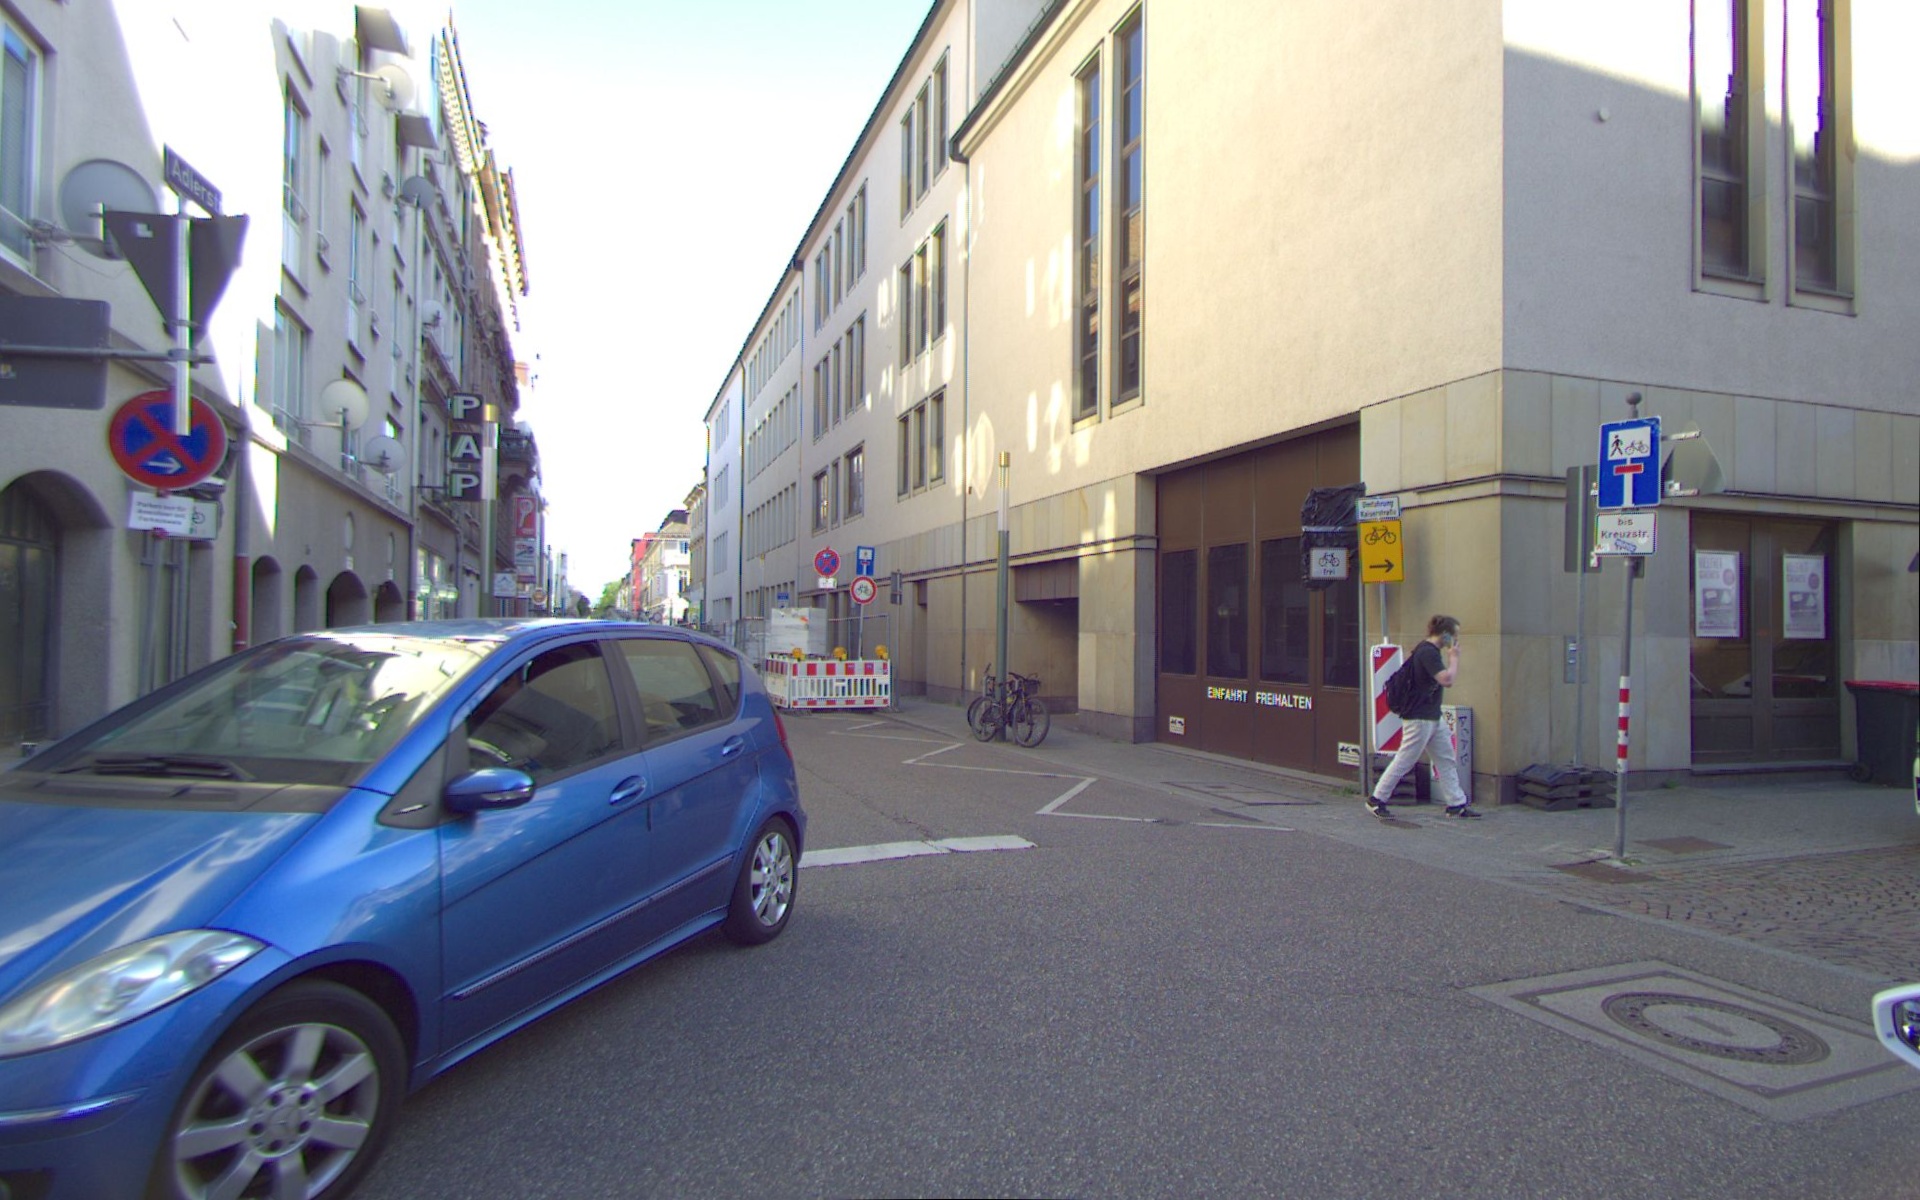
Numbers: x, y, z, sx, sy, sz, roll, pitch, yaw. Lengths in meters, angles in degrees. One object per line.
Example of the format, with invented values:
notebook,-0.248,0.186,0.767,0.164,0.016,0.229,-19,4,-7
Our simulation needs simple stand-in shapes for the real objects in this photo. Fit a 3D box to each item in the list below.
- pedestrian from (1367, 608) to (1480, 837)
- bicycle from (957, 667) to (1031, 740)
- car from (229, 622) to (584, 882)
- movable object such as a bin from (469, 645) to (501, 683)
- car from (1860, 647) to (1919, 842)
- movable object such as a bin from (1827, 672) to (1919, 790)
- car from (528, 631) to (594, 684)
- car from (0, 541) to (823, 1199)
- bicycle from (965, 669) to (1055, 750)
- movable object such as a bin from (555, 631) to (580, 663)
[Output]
pedestrian,4.005,1.025,8.749,0.845,1.878,0.716,0,-3,22
bicycle,0.526,1.640,16.126,0.299,1.064,1.527,1,-2,-36
car,-4.246,1.040,8.401,1.715,1.614,3.956,2,-2,-16
movable object such as a bin,-13.796,1.854,29.189,0.826,1.062,0.750,2,0,-25
car,9.392,1.136,8.027,3.743,1.511,1.735,1,-3,-21
movable object such as a bin,9.622,1.337,10.425,0.582,1.115,0.736,2,0,-19
car,-12.721,1.785,31.940,1.769,1.545,3.978,3,-2,-23
car,-2.111,0.771,3.933,1.819,1.614,3.809,-2,-2,14
bicycle,0.725,1.604,15.020,0.299,1.064,1.774,1,-2,-36
movable object such as a bin,-19.485,2.324,49.812,1.068,1.564,0.903,3,-2,-24
